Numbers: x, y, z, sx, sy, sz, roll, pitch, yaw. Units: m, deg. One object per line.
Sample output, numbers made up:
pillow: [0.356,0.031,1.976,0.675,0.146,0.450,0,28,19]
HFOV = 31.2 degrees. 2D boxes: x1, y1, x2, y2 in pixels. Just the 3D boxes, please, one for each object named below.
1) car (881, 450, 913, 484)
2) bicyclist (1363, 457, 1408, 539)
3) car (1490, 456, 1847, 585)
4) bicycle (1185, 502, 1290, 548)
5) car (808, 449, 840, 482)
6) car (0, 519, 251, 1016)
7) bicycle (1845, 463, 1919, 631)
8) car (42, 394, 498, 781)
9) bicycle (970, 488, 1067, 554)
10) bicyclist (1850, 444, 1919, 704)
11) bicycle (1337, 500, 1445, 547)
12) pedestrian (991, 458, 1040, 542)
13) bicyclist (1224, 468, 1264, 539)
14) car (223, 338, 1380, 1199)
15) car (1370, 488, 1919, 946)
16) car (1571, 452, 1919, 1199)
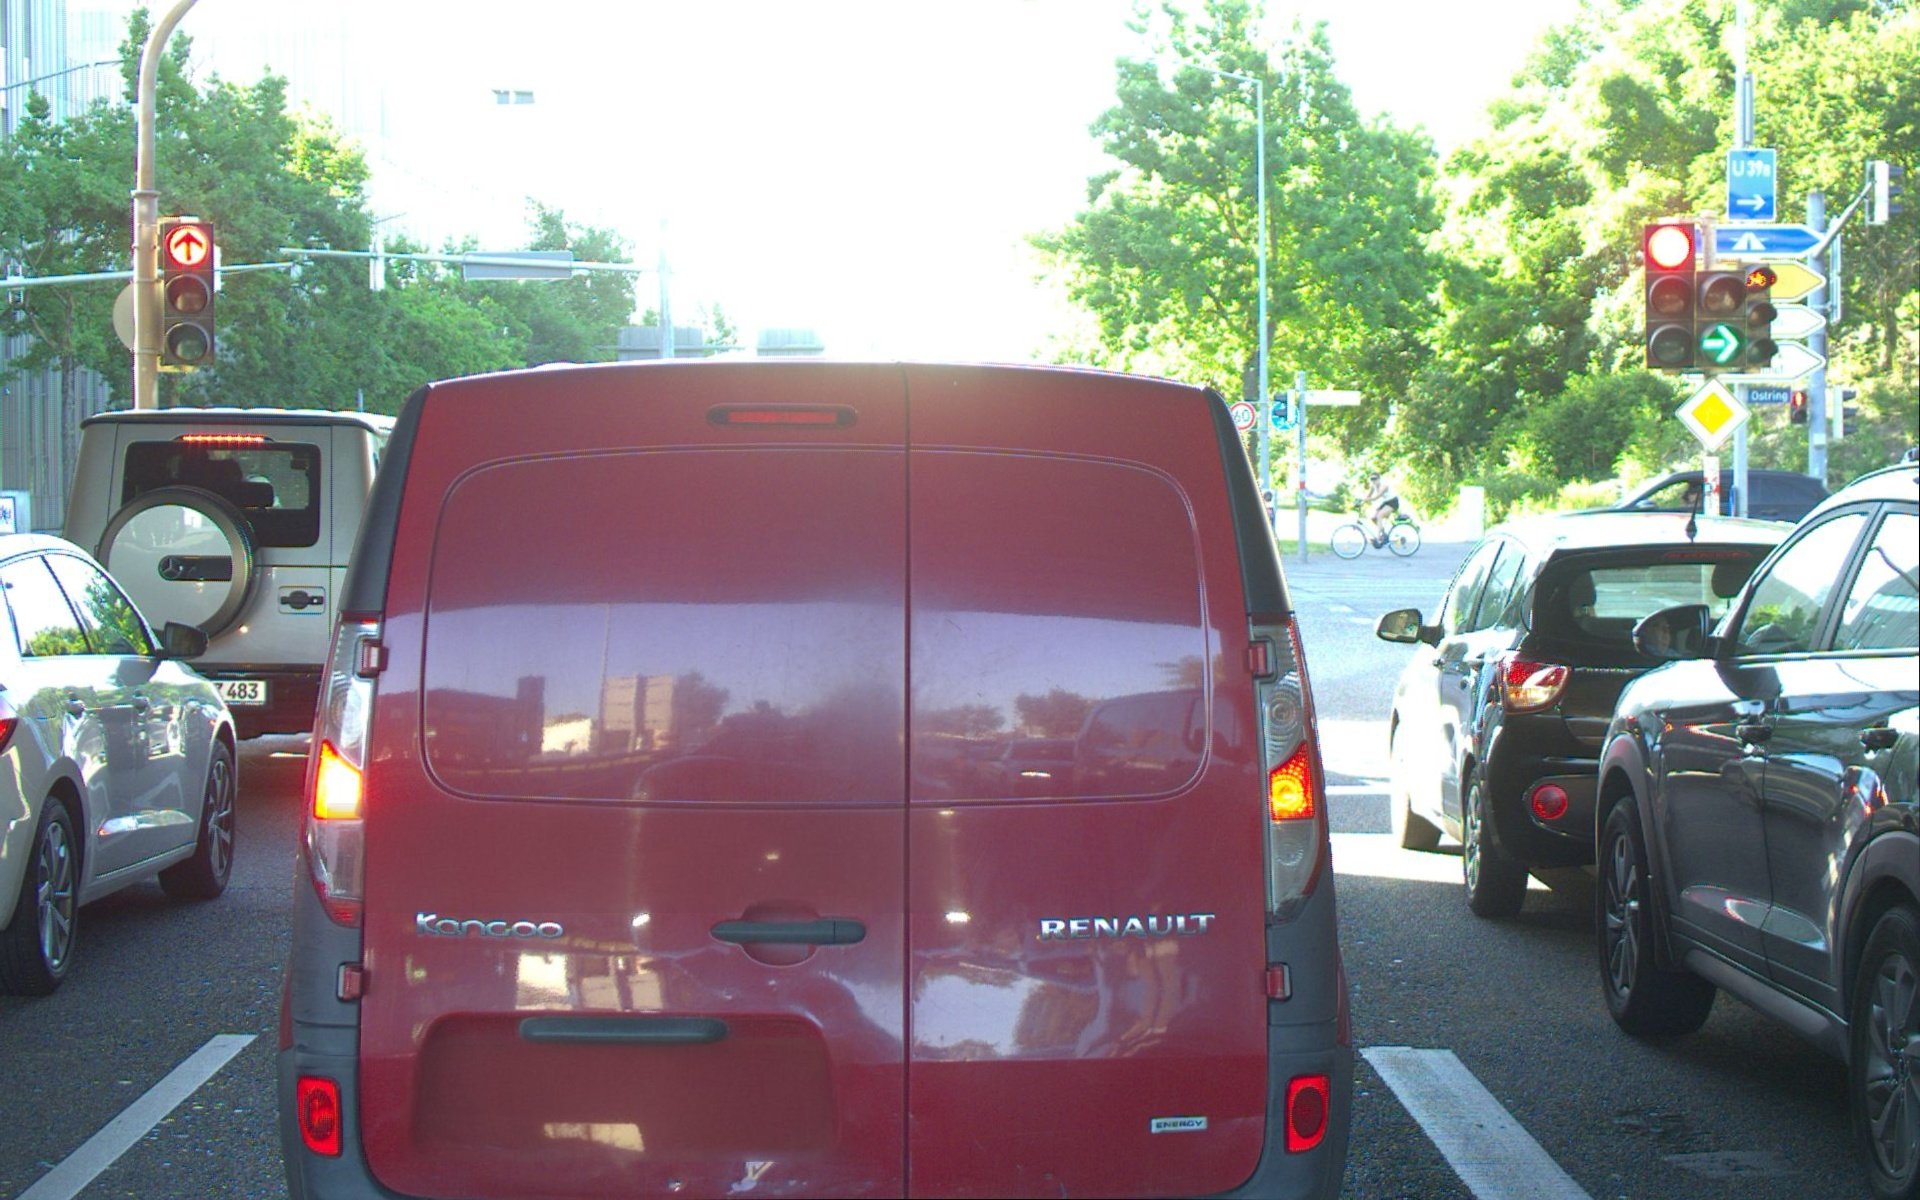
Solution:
car: [-4.036,-8.522,220.766,1.993,2.007,4.000,1,1,-1]
bicyclist: [8.000,-1.912,64.632,0.755,1.536,0.697,0,1,0]
car: [9.385,-1.054,45.828,4.347,1.602,2.000,1,1,2]
bicycle: [5.283,-1.421,65.438,1.912,0.864,0.605,0,1,-4]
car: [-8.893,-8.810,224.934,1.993,2.007,4.000,1,1,-1]
car: [-3.605,0.427,11.664,1.692,1.405,3.814,1,1,-2]
bicycle: [6.043,-0.331,21.843,0.677,1.020,1.528,1,1,10]
car: [-3.679,-0.103,18.965,1.813,1.897,3.814,1,1,-1]
bicycle: [1.082,-1.466,63.837,1.729,1.229,0.558,0,1,-6]
bicyclist: [6.043,-0.165,21.834,0.677,1.623,0.644,1,1,10]
bicycle: [8.095,-1.434,64.640,1.953,0.871,0.699,0,1,0]
pedestrian: [1.031,-1.863,63.827,0.836,1.549,0.557,0,1,-6]
bicyclist: [5.403,-1.830,65.451,0.652,1.325,0.603,1,1,-4]
car: [-0.262,0.453,7.160,1.719,1.758,4.000,1,1,-1]
car: [2.688,0.347,13.908,1.652,1.546,3.864,1,2,1]
car: [2.808,0.503,8.328,1.778,1.650,3.991,1,2,-2]
